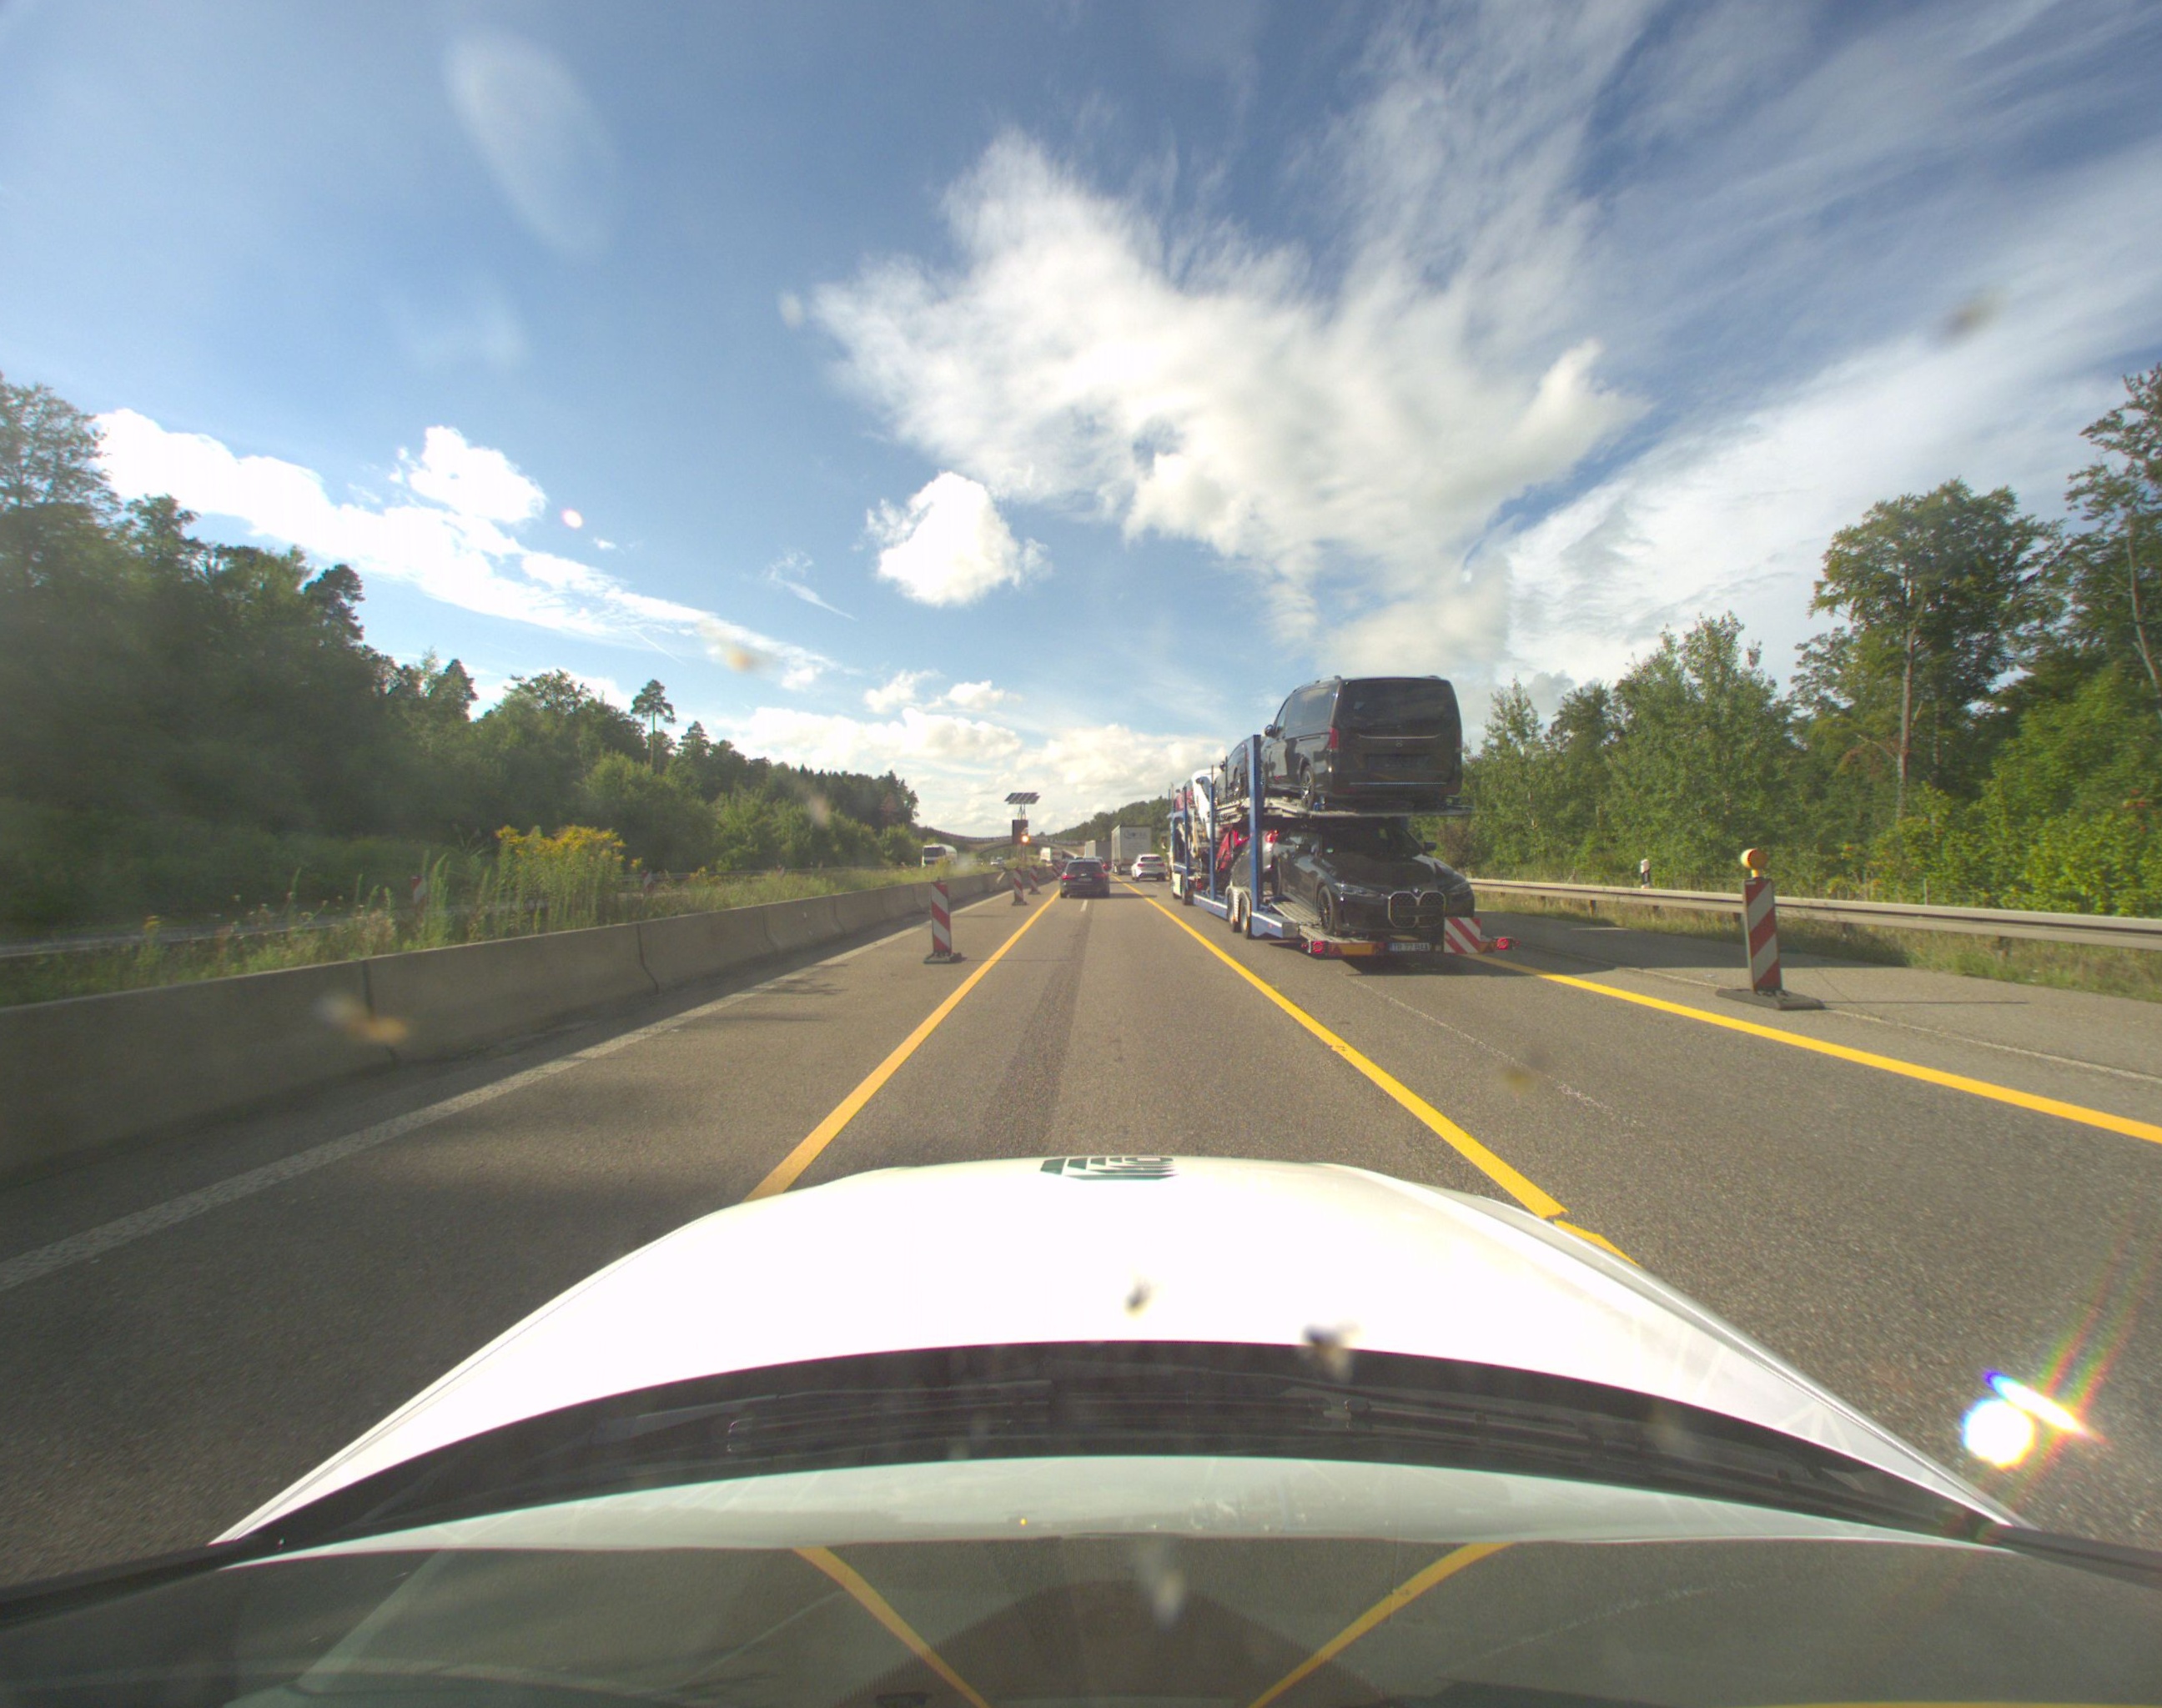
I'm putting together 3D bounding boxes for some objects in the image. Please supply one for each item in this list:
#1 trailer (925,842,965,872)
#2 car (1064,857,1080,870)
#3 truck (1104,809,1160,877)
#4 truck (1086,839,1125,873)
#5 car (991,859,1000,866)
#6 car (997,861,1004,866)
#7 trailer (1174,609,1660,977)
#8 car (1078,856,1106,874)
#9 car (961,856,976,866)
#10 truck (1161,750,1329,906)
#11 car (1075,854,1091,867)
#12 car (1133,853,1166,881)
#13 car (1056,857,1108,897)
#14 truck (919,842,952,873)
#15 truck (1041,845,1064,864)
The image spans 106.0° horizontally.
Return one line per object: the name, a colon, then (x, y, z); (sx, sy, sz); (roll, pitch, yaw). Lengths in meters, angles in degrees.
trailer: (-16.607, 0.438, 100.396); (2.791, 3.490, 11.116); (0, -1, 2)
car: (-1.384, 1.407, 123.267); (1.990, 2.014, 3.993); (0, -1, -5)
truck: (4.297, -0.817, 73.103); (3.667, 5.353, 16.190); (0, -1, -1)
truck: (3.434, 0.321, 118.234); (4.314, 4.600, 11.100); (0, -1, -6)
car: (-21.724, 2.186, 206.866); (1.771, 1.602, 4.019); (-1, -1, 2)
car: (-23.381, 2.770, 235.903); (1.774, 1.602, 4.671); (0, -1, -3)
trailer: (4.784, -0.646, 17.449); (3.714, 4.196, 16.224); (0, -1, 0)
car: (0.836, 0.874, 65.463); (1.887, 1.446, 3.993); (0, -1, -5)
car: (-18.231, 1.196, 131.852); (1.771, 1.602, 4.019); (-1, -1, 2)
truck: (4.816, -0.680, 25.957); (3.749, 4.196, 7.949); (0, -1, 0)
car: (0.213, 0.864, 106.277); (1.886, 1.643, 4.012); (0, -1, -3)
car: (4.220, 0.778, 50.673); (1.883, 1.643, 4.019); (-1, -1, 2)
car: (0.102, 0.849, 31.333); (1.883, 1.446, 4.002); (-1, -1, 2)
truck: (-16.782, 0.373, 94.205); (2.774, 3.490, 4.941); (0, -1, 2)
truck: (-6.226, 0.184, 174.229); (3.652, 3.928, 11.035); (0, -1, -8)
